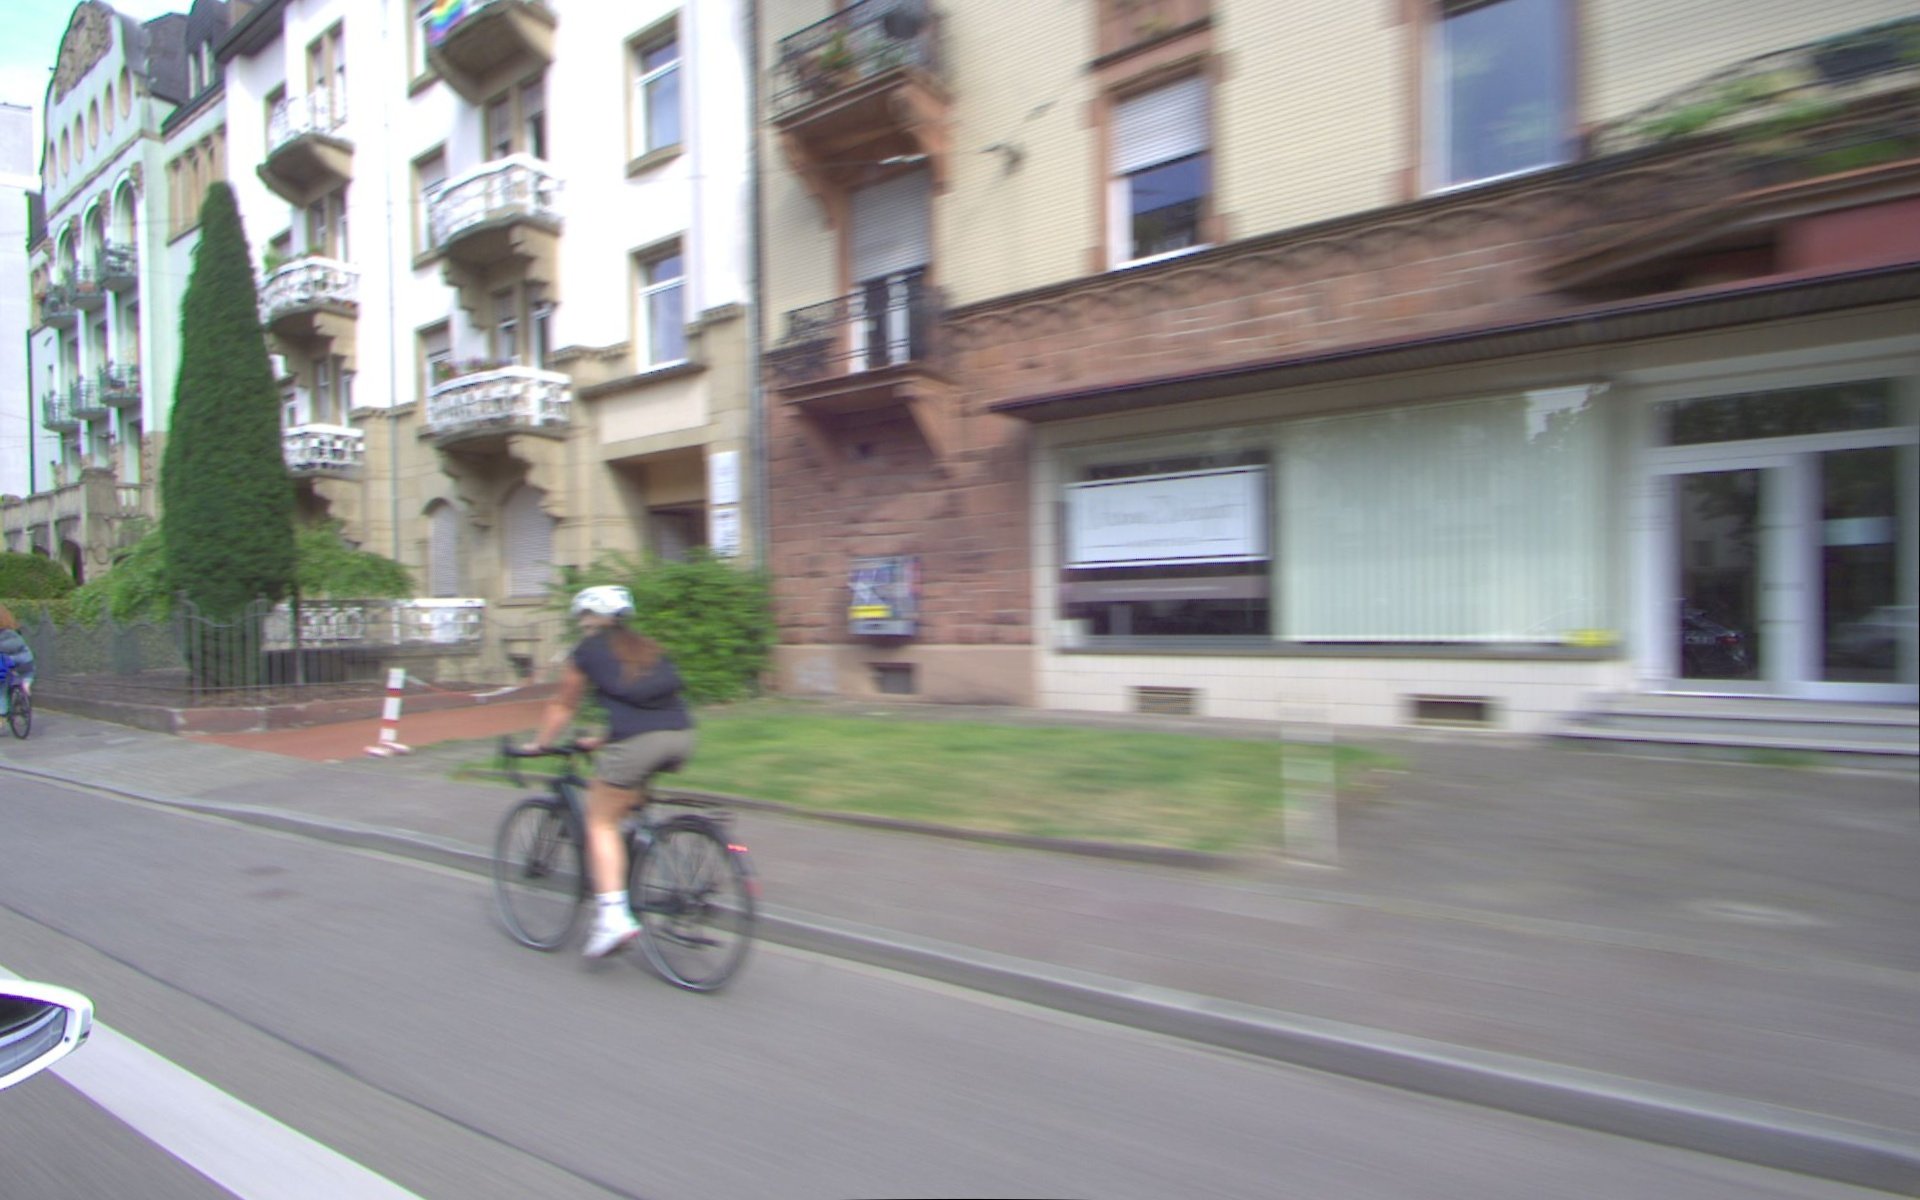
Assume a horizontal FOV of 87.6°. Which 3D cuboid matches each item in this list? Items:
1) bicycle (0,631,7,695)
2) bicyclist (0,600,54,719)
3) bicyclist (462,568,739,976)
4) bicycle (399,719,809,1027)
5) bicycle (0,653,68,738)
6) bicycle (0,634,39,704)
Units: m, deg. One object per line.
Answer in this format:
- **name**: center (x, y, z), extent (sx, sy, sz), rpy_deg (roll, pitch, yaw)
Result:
- **bicycle**: center (-18.090, 1.150, 18.439), extent (1.895, 1.157, 0.390), rpy_deg (-1, 1, 36)
- **bicyclist**: center (-12.440, 0.766, 13.086), extent (0.789, 1.490, 0.645), rpy_deg (-1, 2, 33)
- **bicyclist**: center (-1.614, 0.691, 4.488), extent (1.095, 1.590, 0.637), rpy_deg (-1, -1, 33)
- **bicycle**: center (-1.661, 1.100, 4.511), extent (2.043, 0.993, 0.637), rpy_deg (-1, -2, 33)
- **bicycle**: center (-12.578, 1.229, 13.194), extent (2.008, 0.975, 0.686), rpy_deg (-1, 2, 33)
- **bicycle**: center (-15.972, 1.132, 16.794), extent (1.736, 1.117, 0.390), rpy_deg (-1, 1, 36)
